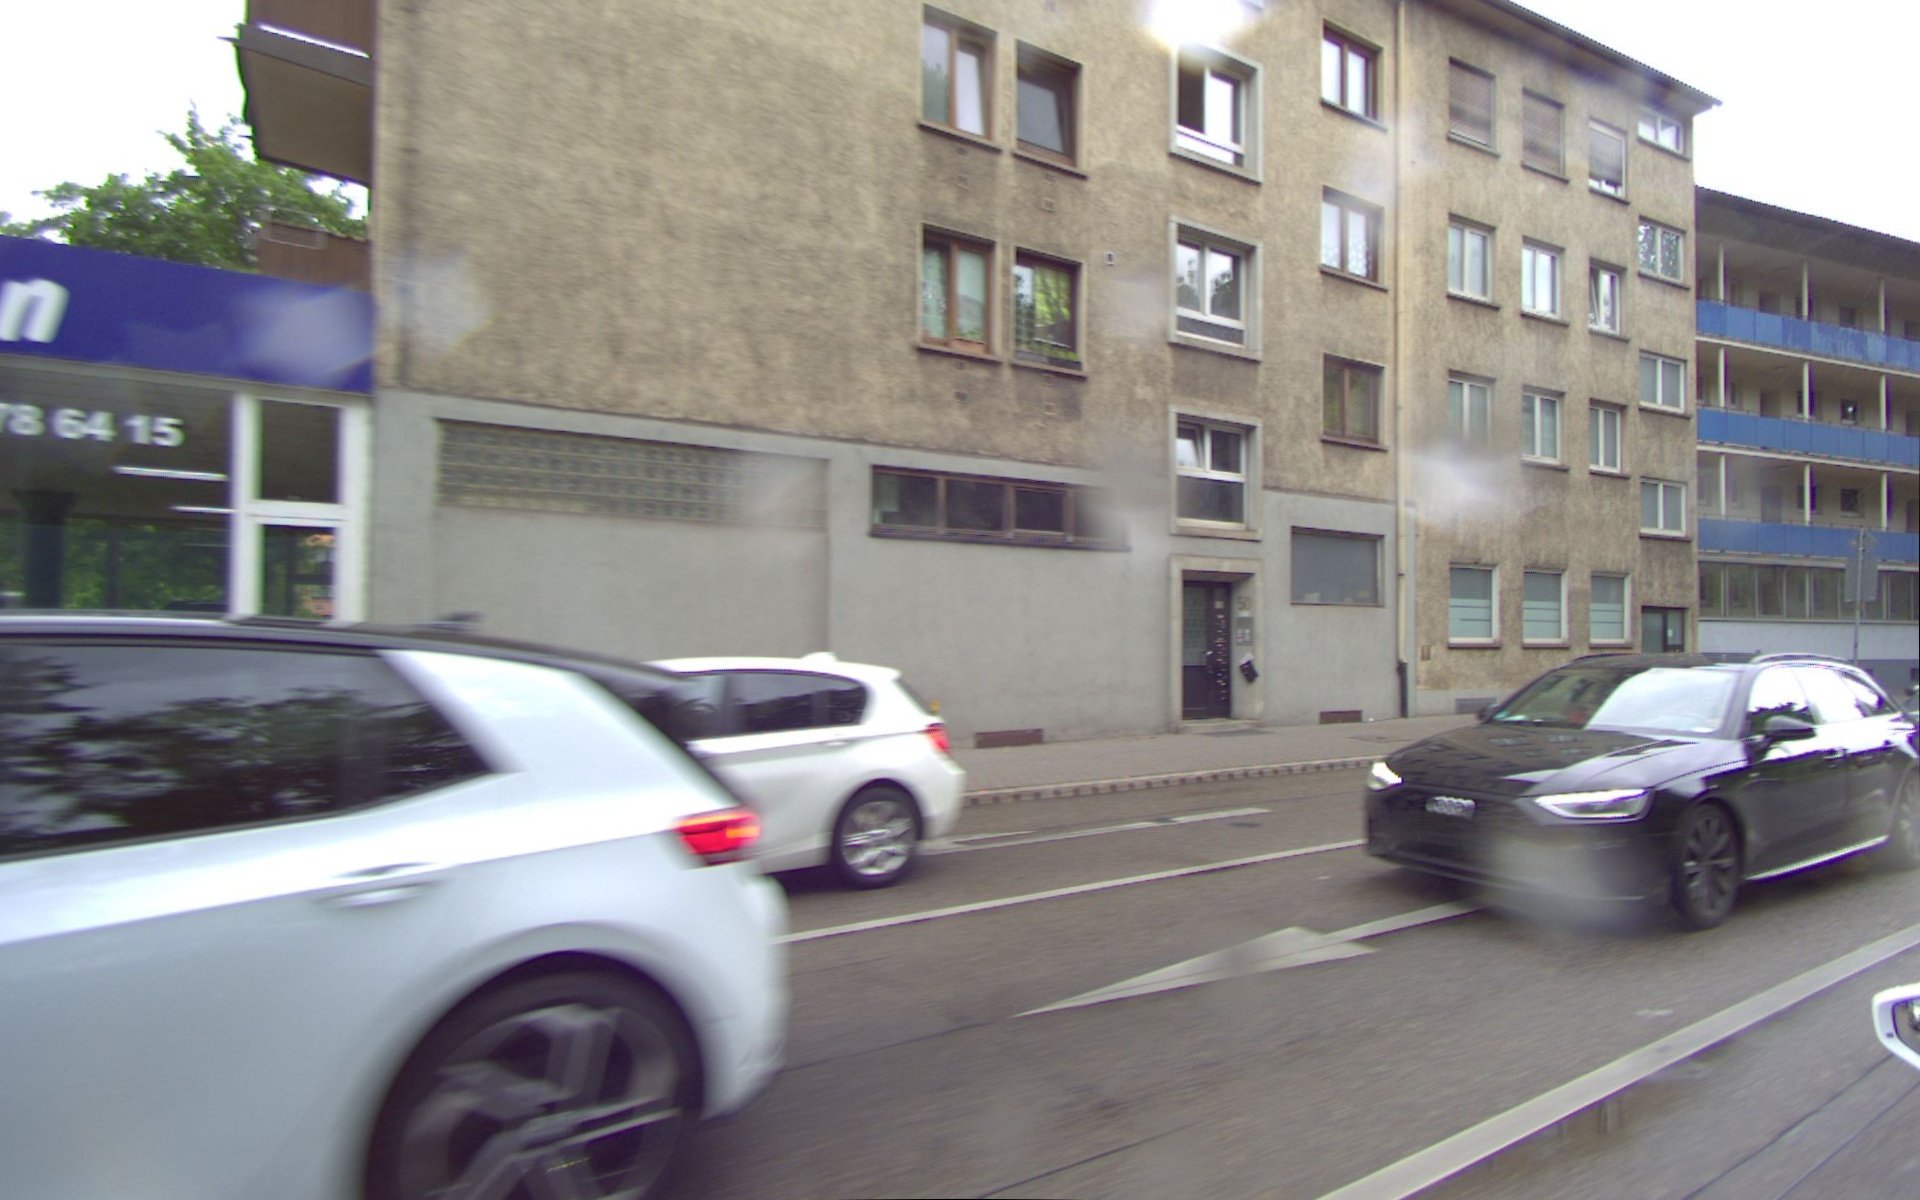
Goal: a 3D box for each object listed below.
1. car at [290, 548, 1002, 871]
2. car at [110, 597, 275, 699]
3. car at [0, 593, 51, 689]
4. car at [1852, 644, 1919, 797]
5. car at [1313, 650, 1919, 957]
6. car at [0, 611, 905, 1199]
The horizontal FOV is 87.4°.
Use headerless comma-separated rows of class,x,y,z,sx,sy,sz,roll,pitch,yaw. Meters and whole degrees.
car,-1.824,0.582,6.374,3.956,1.474,1.649,1,-4,-33
car,-11.907,0.713,15.800,1.611,1.410,3.634,1,-2,-31
car,-20.539,0.772,19.006,4.700,1.854,1.962,2,-2,-37
car,11.035,1.173,10.202,3.771,1.466,1.674,1,-3,-27
car,4.642,1.056,6.689,4.570,1.425,1.782,1,-3,-30
car,-2.376,0.820,2.402,4.169,1.515,1.776,1,-4,-32
